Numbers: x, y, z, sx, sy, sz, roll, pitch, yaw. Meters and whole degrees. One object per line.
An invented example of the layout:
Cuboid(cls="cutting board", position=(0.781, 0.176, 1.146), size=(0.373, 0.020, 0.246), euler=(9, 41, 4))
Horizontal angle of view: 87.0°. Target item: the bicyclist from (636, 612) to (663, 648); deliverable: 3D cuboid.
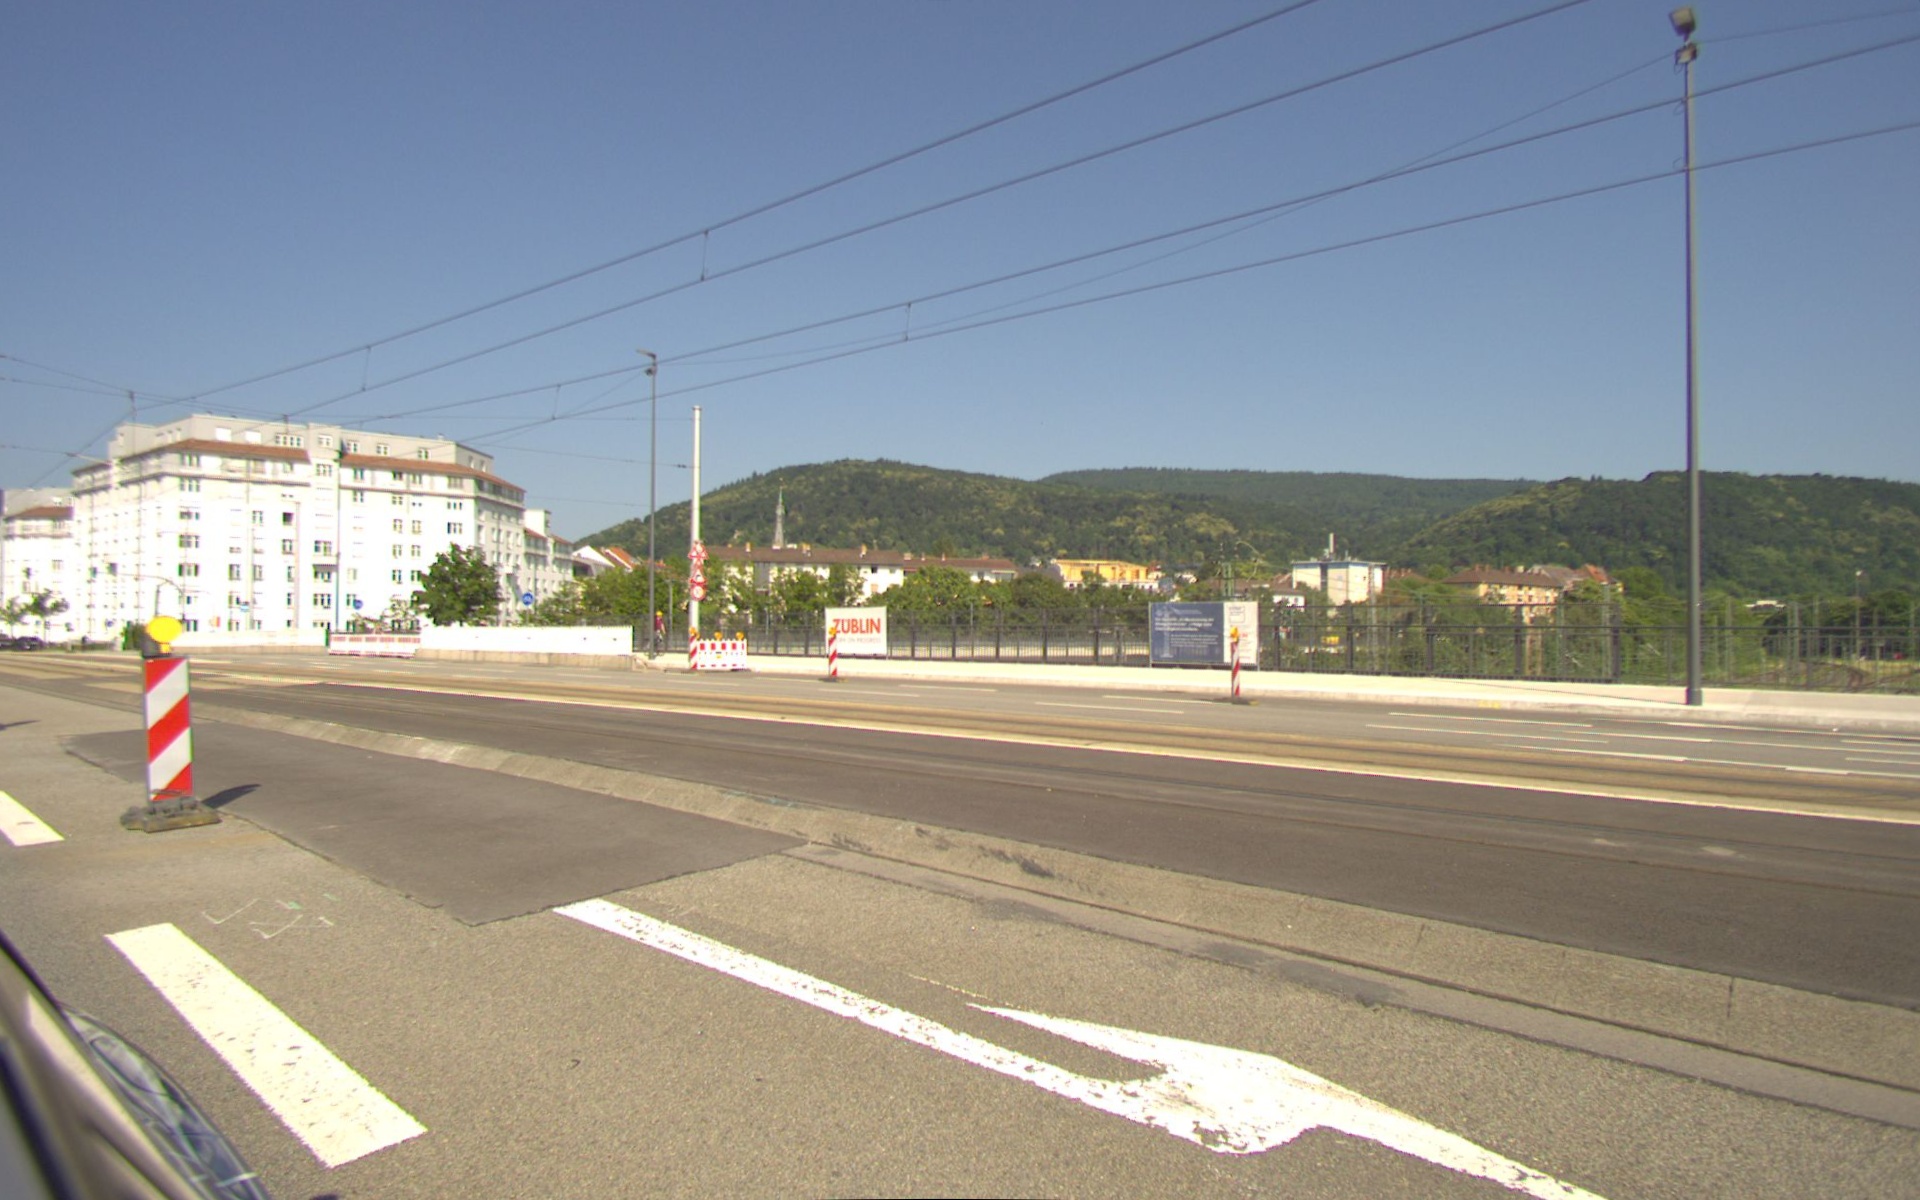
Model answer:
Cuboid(cls="bicyclist", position=(-13.706, 1.313, 44.641), size=(0.816, 1.530, 0.847), euler=(-1, -1, 40))

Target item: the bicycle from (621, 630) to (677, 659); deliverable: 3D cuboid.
Cuboid(cls="bicycle", position=(-13.732, 1.960, 44.652), size=(3.070, 1.204, 0.847), euler=(-1, -1, 40))
